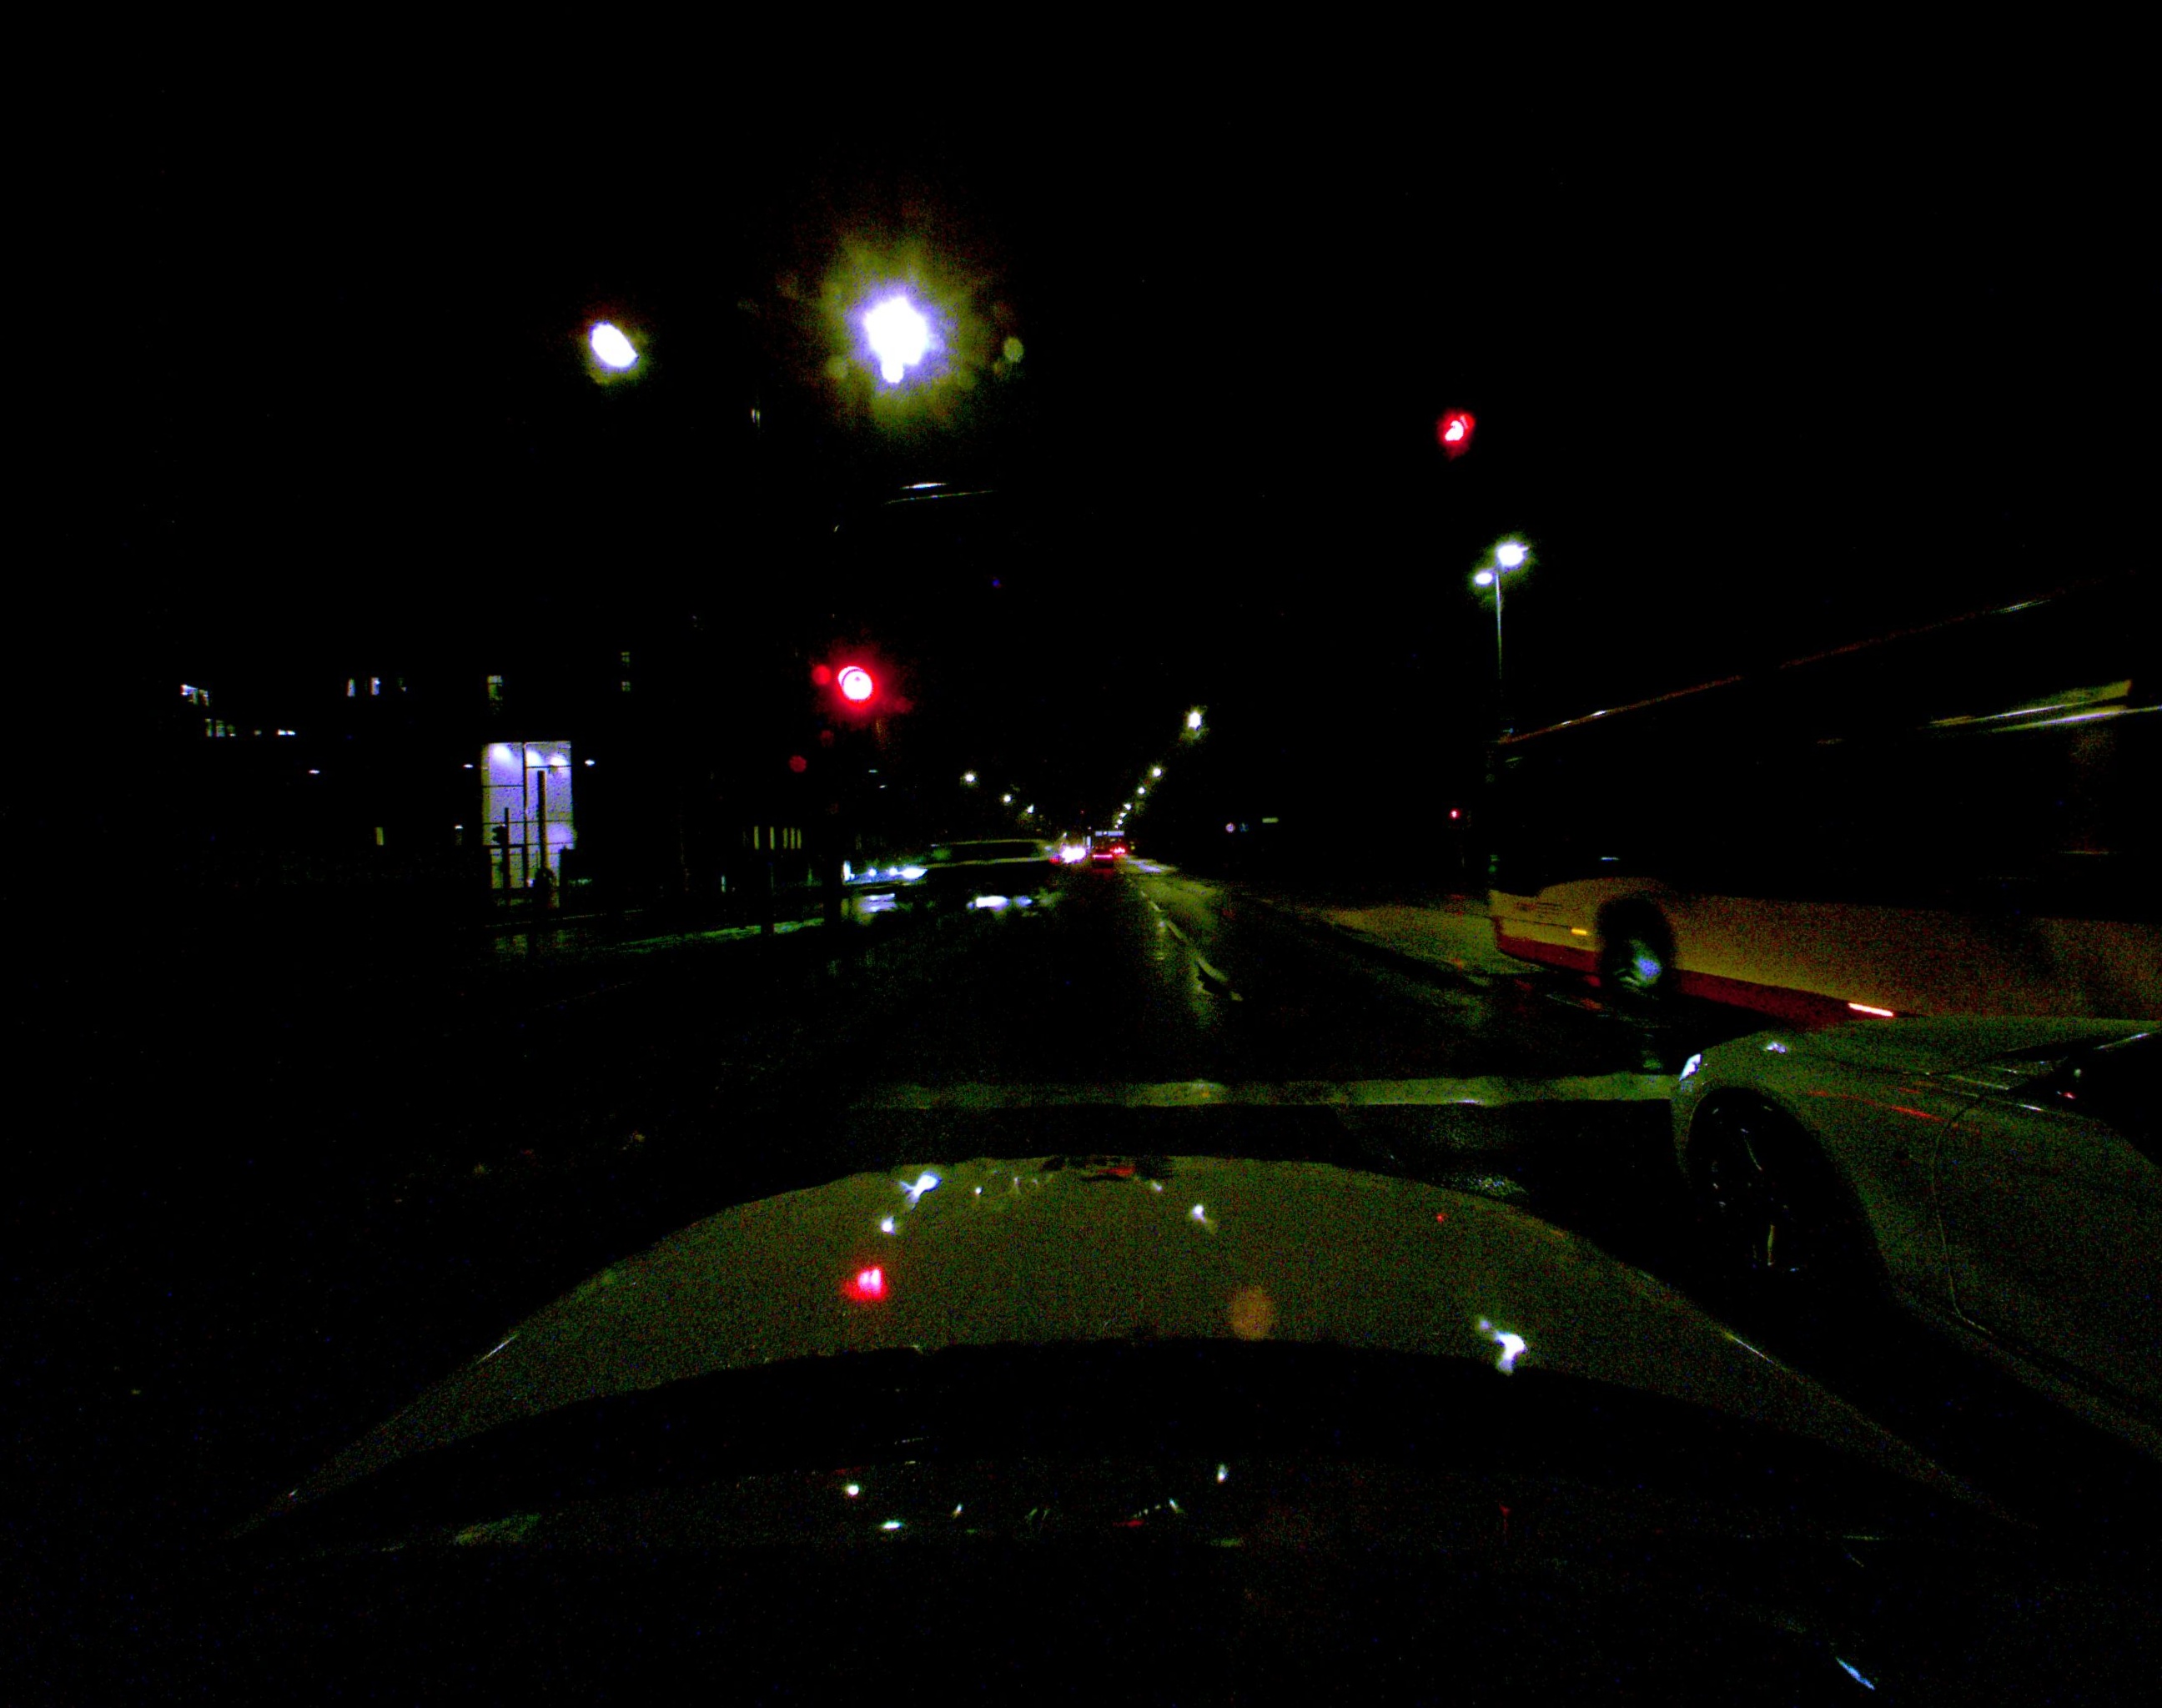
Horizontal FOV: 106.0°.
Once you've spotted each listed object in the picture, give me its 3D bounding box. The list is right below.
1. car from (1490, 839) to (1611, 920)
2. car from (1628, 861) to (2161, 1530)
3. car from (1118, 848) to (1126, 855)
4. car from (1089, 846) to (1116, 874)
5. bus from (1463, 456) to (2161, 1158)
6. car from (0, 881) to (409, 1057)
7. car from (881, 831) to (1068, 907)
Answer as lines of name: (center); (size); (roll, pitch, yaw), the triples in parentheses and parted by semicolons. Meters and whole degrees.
car: (10.182, 0.450, 17.536); (1.733, 1.430, 3.785); (1, 3, 38)
car: (3.125, 0.719, 1.279); (1.710, 1.404, 4.351); (0, 0, 2)
car: (10.821, -0.730, 216.422); (1.986, 1.759, 4.001); (0, -1, 2)
car: (1.760, 0.489, 65.890); (2.127, 2.145, 4.930); (0, -1, 2)
bus: (6.218, -0.225, 5.558); (2.759, 3.123, 9.763); (-1, 0, 1)
car: (-11.625, 1.321, 10.631); (1.895, 1.588, 4.091); (-4, 1, 8)
car: (-3.108, 0.394, 24.187); (5.127, 1.984, 1.980); (-2, 0, -31)
